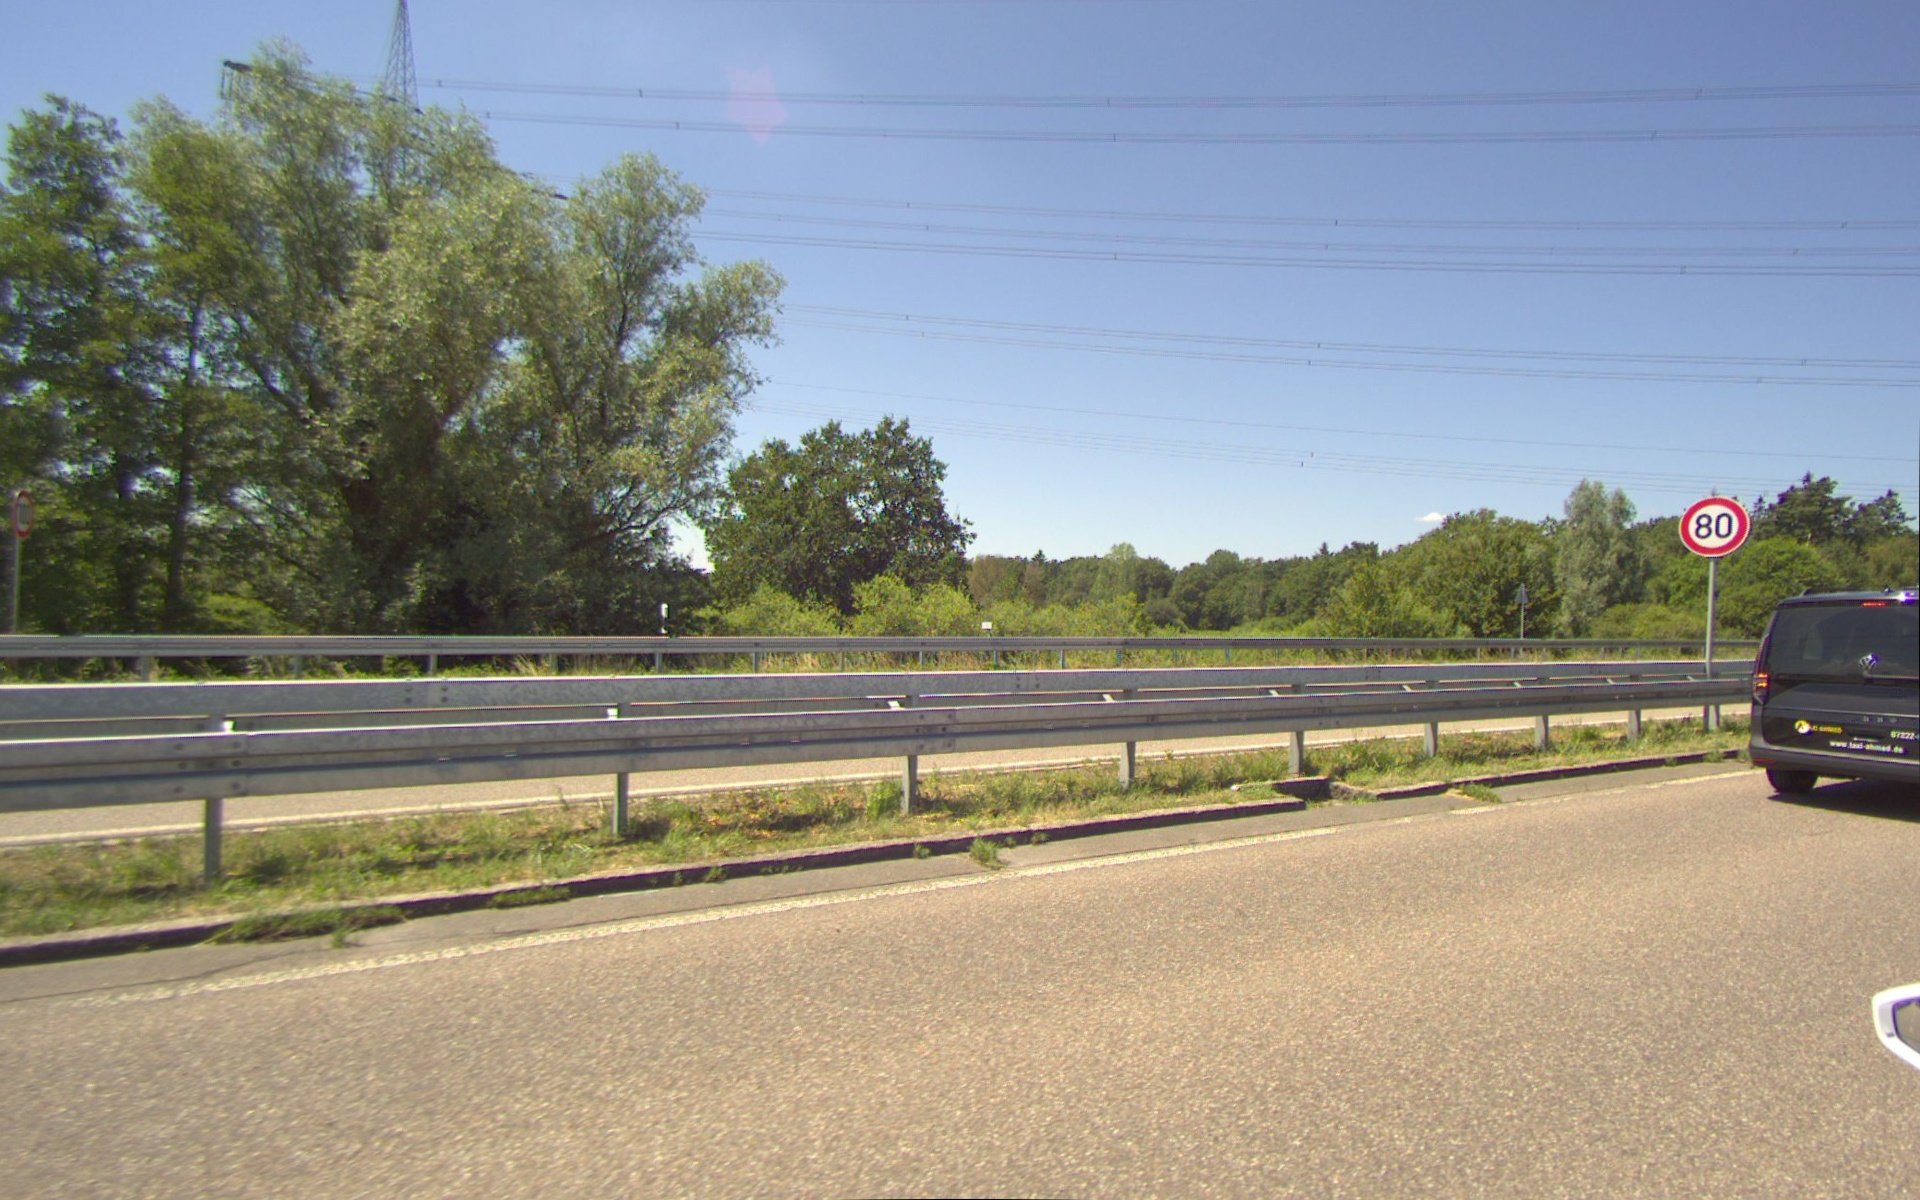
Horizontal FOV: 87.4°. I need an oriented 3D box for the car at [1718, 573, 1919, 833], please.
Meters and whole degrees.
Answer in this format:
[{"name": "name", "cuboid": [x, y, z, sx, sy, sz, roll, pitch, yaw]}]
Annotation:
[{"name": "car", "cuboid": [9.233, 0.830, 9.122, 5.510, 1.912, 1.845, 2, -1, -31]}]
